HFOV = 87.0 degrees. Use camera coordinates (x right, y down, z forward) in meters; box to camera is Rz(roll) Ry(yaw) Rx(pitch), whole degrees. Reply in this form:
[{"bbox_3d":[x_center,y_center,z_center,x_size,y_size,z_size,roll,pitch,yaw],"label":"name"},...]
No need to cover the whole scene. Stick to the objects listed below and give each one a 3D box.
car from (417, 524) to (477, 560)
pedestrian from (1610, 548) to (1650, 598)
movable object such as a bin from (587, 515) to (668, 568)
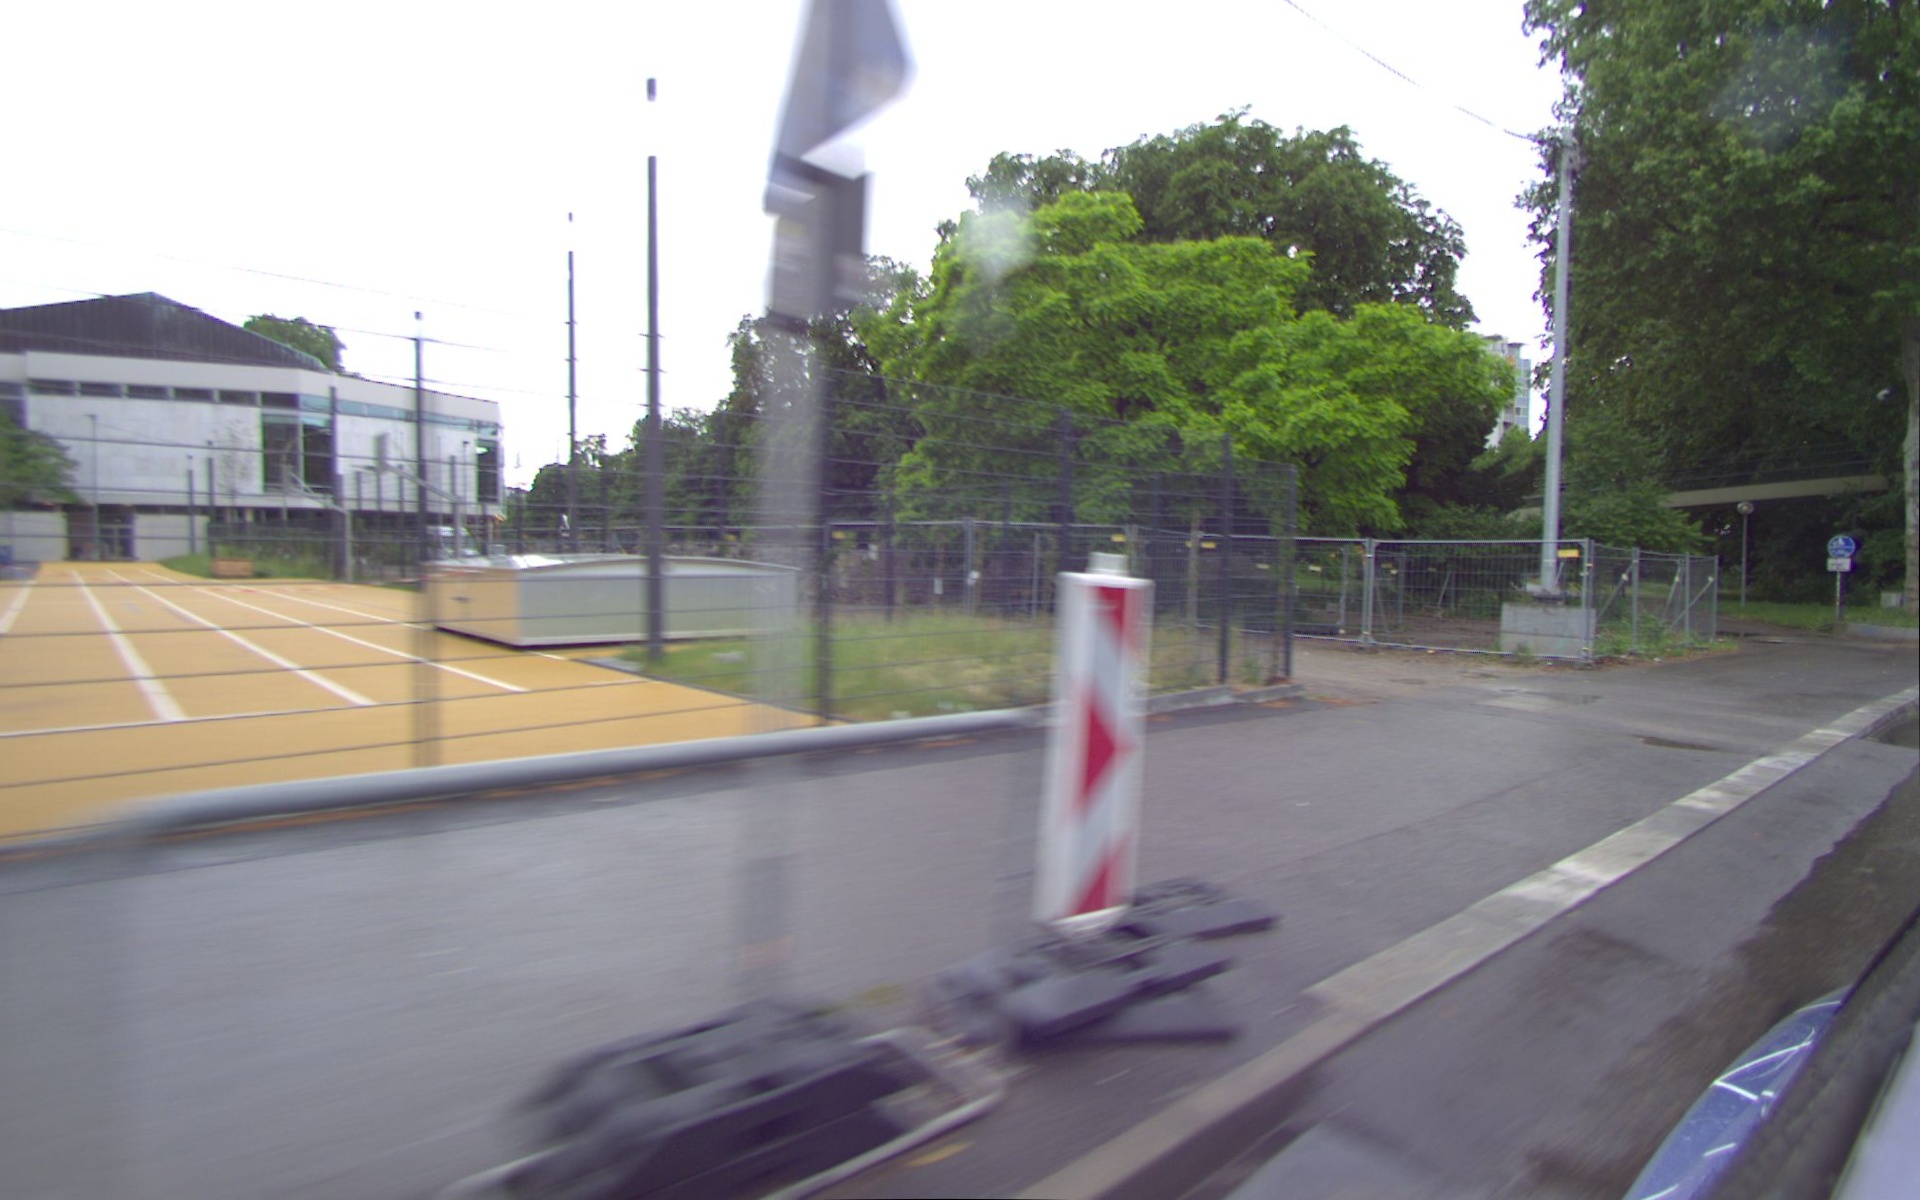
[{"bbox_3d":[-30.189,-3.444,59.566,3.990,2.037,1.969,4,5,45],"label":"car"},{"bbox_3d":[28.281,-1.146,42.726,1.036,2.038,1.036,1,2,11],"label":"pedestrian"},{"bbox_3d":[-17.714,-3.128,53.810,2.454,2.677,4.570,-3,5,-42],"label":"movable object such as a bin"}]
